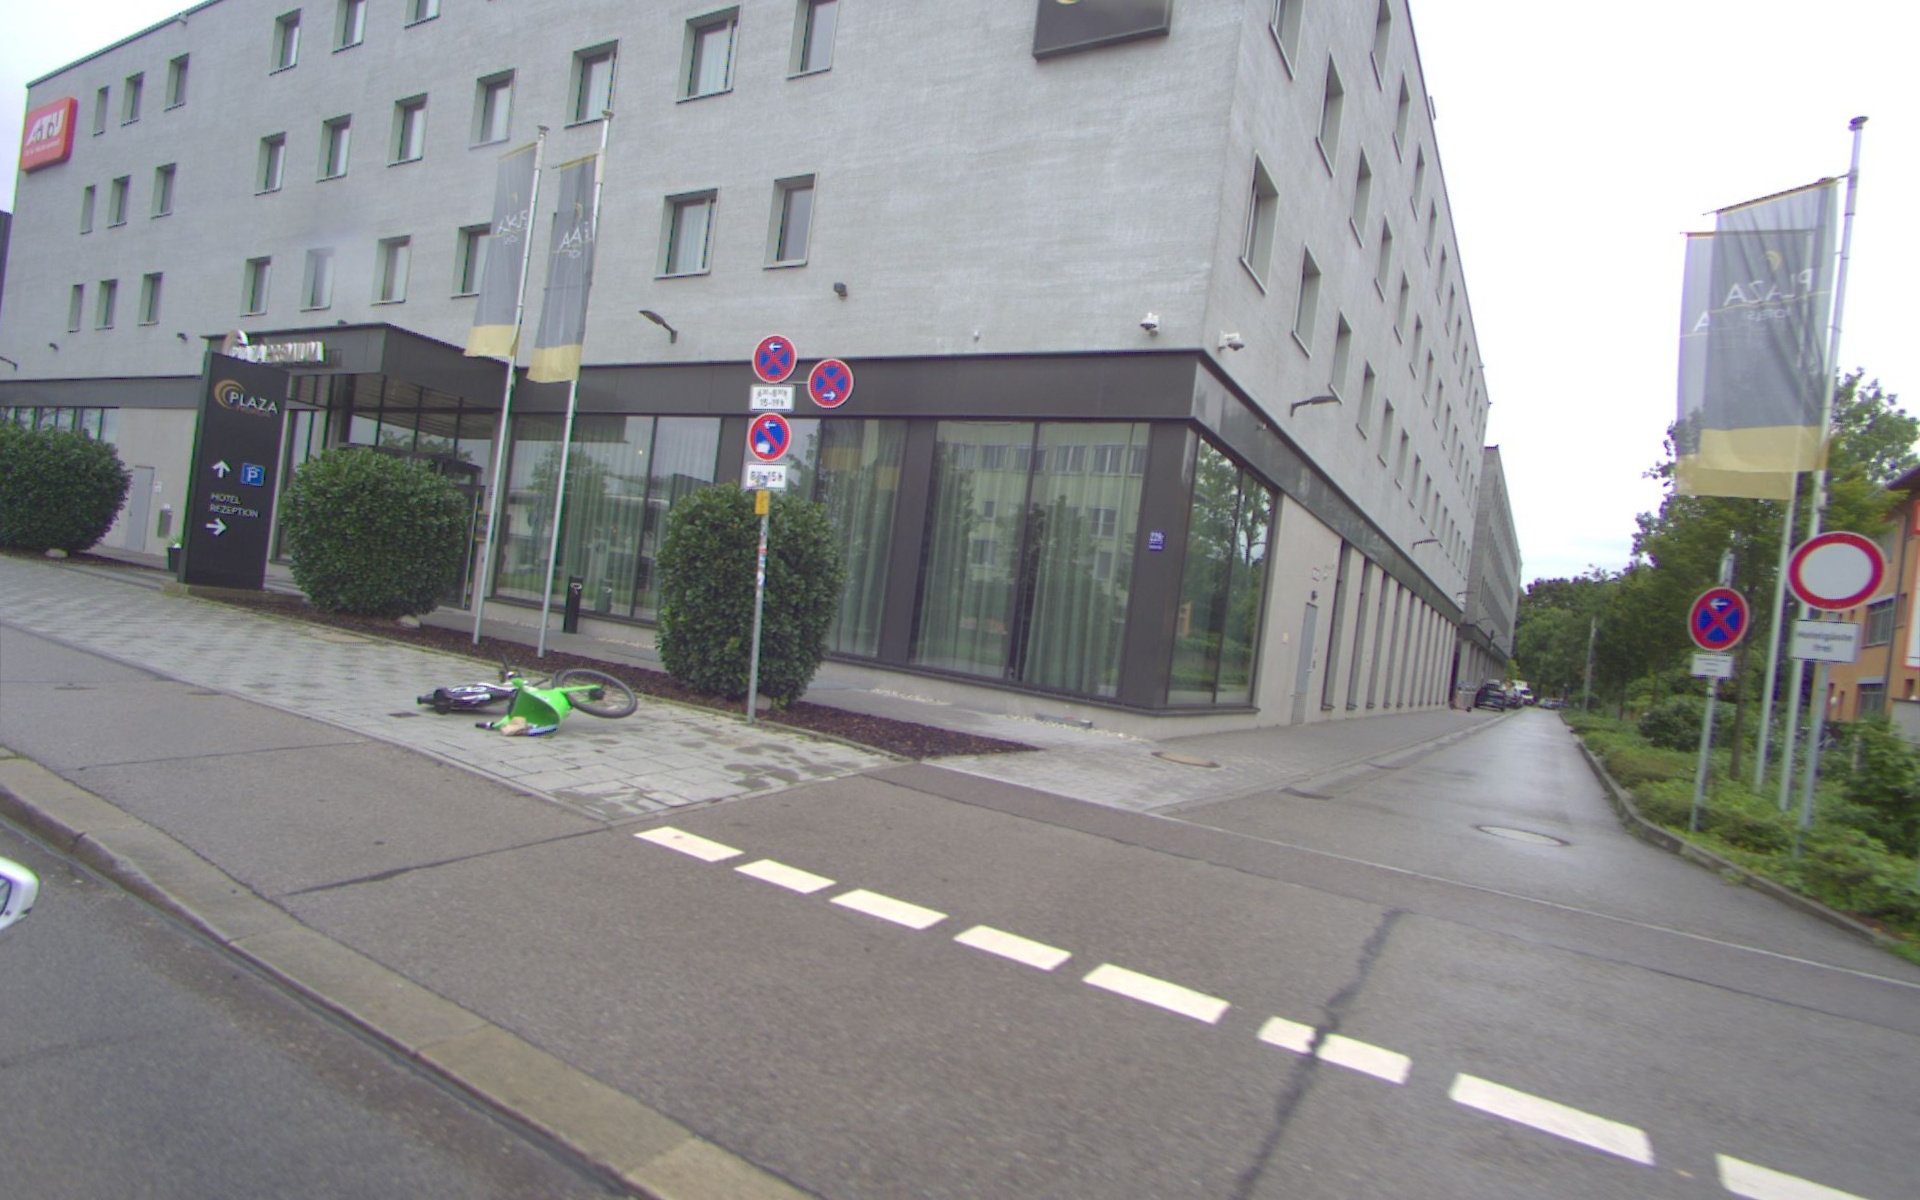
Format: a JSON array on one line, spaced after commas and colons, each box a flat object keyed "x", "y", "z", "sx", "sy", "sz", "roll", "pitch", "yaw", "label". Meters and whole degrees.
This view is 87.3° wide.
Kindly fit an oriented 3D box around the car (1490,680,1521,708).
[{"x": 46.841, "y": 8.042, "z": 86.316, "sx": 1.966, "sy": 2.039, "sz": 3.992, "roll": 7, "pitch": 0, "yaw": 30, "label": "car"}]

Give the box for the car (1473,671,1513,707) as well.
[{"x": 35.598, "y": 5.919, "z": 67.172, "sx": 1.966, "sy": 2.039, "sz": 3.992, "roll": 7, "pitch": 0, "yaw": 30, "label": "car"}]

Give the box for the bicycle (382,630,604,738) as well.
[{"x": -3.643, "y": 0.612, "z": 7.815, "sx": 1.703, "sy": 0.556, "sz": 0.720, "roll": 7, "pitch": 3, "yaw": 31, "label": "bicycle"}]

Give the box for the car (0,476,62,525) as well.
[{"x": -37.454, "y": -4.047, "z": 38.600, "sx": 1.790, "sy": 1.575, "sz": 4.020, "roll": 7, "pitch": -2, "yaw": 33, "label": "car"}]

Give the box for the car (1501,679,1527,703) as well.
[{"x": 55.807, "y": 9.127, "z": 101.317, "sx": 1.966, "sy": 2.039, "sz": 3.992, "roll": 7, "pitch": 0, "yaw": 30, "label": "car"}]
